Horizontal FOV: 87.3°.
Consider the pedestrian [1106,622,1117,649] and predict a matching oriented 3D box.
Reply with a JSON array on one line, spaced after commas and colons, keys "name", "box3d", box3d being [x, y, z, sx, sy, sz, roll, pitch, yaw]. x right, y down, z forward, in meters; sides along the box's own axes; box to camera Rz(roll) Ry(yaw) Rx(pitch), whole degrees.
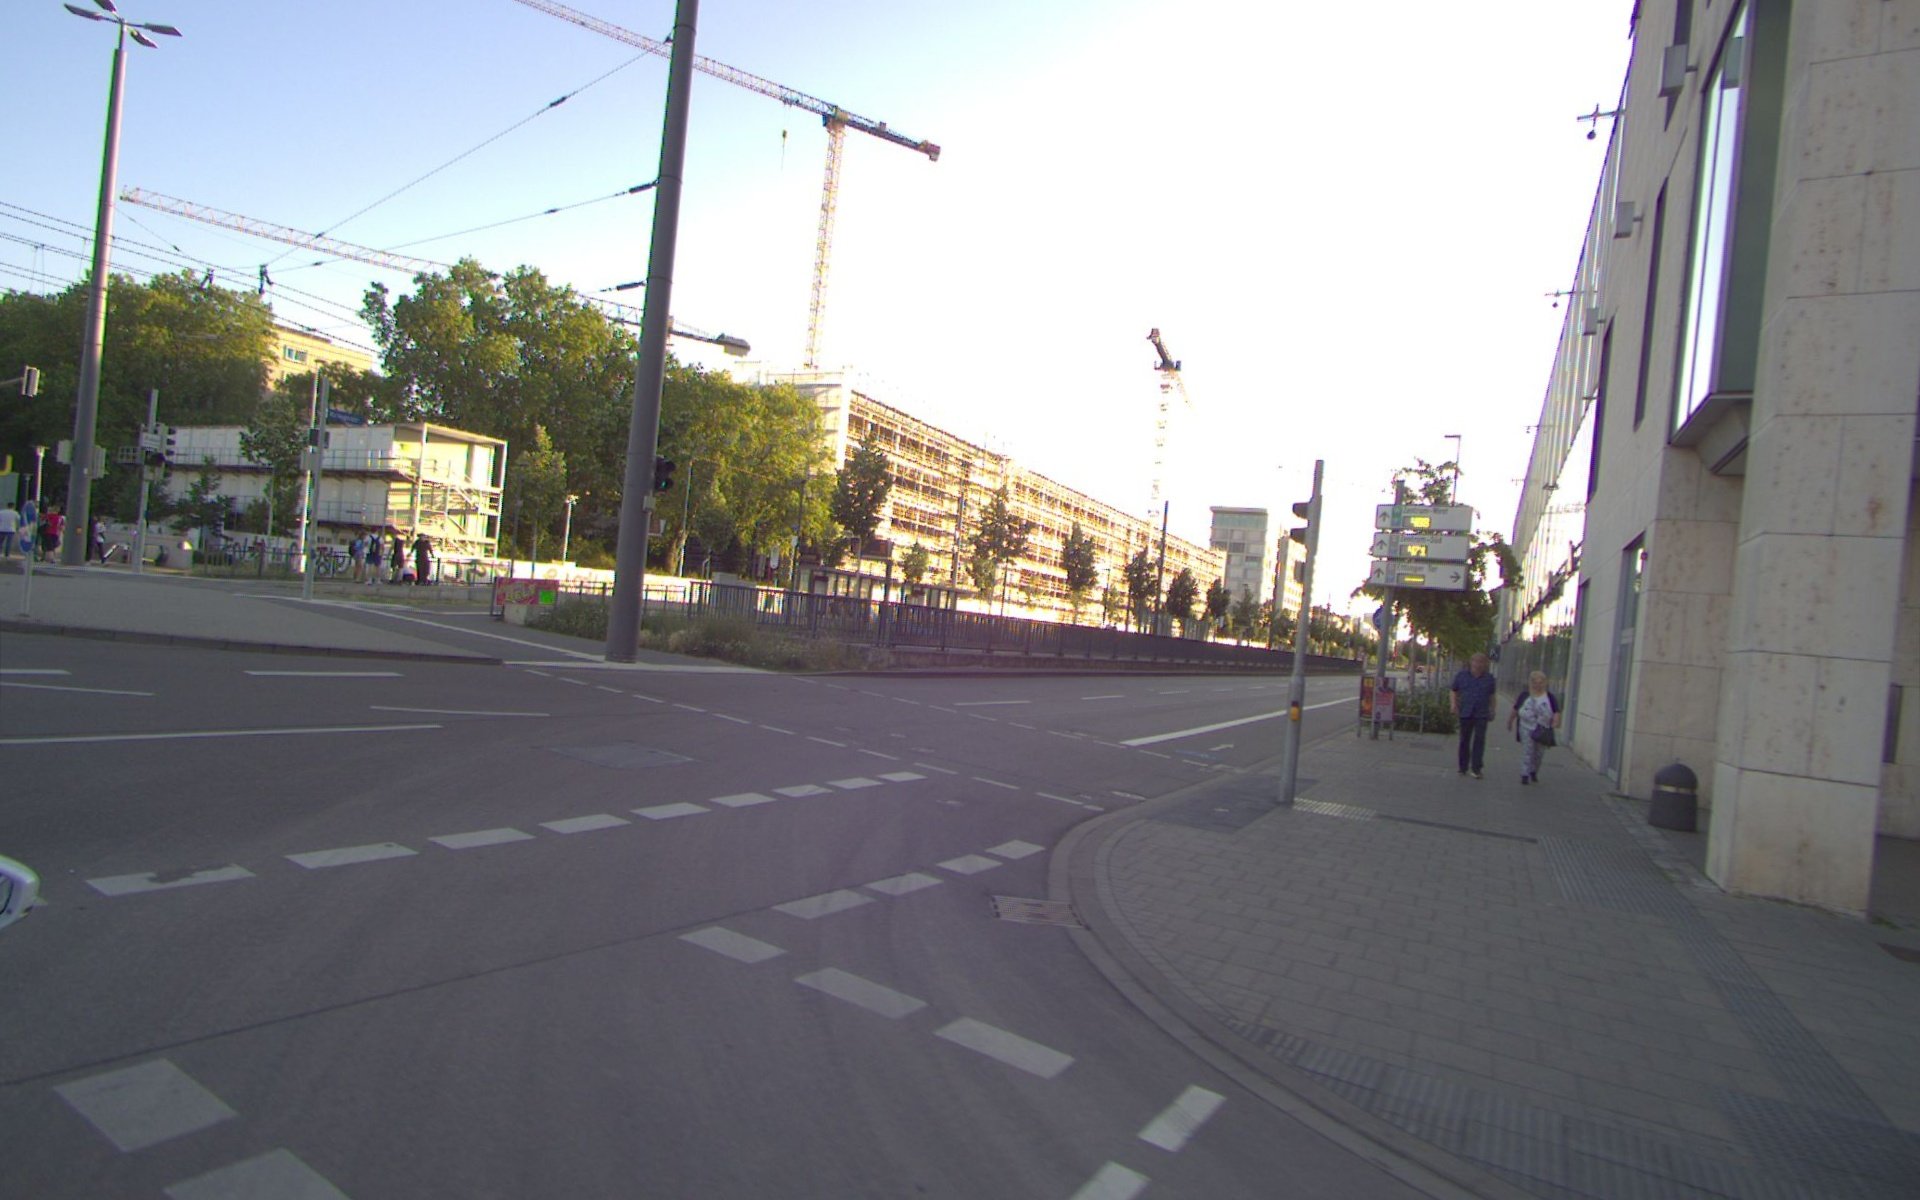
[{"name": "pedestrian", "box3d": [9.655, 2.279, 64.022, 0.396, 1.690, 0.448, 6, 0, 38]}]

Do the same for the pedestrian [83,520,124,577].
[{"name": "pedestrian", "box3d": [-29.131, -1.748, 34.210, 0.789, 1.813, 0.804, 6, 0, 39]}]

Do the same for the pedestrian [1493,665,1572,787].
[{"name": "pedestrian", "box3d": [7.958, 1.728, 14.010, 0.712, 1.565, 0.668, 6, 0, 20]}]

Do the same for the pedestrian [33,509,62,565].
[{"name": "pedestrian", "box3d": [-29.292, -2.018, 32.290, 0.570, 1.699, 0.631, 6, 0, -44]}]

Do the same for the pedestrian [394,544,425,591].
[{"name": "pedestrian", "box3d": [-17.913, -1.055, 32.726, 0.672, 1.459, 0.707, 5, 0, -36]}]

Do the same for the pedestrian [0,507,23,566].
[{"name": "pedestrian", "box3d": [-29.418, -1.961, 30.972, 0.708, 1.746, 0.904, 6, 0, -43]}]

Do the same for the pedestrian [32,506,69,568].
[{"name": "pedestrian", "box3d": [-27.401, -1.886, 30.320, 0.700, 1.756, 0.837, 6, 0, -42]}]

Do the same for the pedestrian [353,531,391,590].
[{"name": "pedestrian", "box3d": [-18.273, -1.236, 31.260, 0.659, 1.746, 0.709, 6, 0, 43]}]

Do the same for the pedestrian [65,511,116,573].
[{"name": "pedestrian", "box3d": [-27.433, -1.835, 31.748, 0.786, 1.813, 0.807, 6, 0, 22]}]

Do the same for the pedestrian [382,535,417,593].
[{"name": "pedestrian", "box3d": [-17.767, -1.136, 31.873, 0.708, 1.746, 0.661, 6, 0, -41]}]

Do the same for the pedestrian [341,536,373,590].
[{"name": "pedestrian", "box3d": [-19.102, -1.163, 31.851, 0.527, 1.612, 0.571, 6, 0, 31]}]

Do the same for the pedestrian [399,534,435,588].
[{"name": "pedestrian", "box3d": [-18.420, -1.318, 34.118, 0.657, 1.746, 0.712, 6, 0, 29]}]

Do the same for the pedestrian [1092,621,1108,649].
[{"name": "pedestrian", "box3d": [8.981, 2.231, 64.382, 0.657, 1.690, 0.574, 6, 0, 37]}]

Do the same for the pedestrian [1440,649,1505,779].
[{"name": "pedestrian", "box3d": [7.281, 1.596, 14.320, 0.579, 1.746, 0.668, 6, 0, 20]}]

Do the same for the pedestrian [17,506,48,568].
[{"name": "pedestrian", "box3d": [-28.446, -1.922, 30.863, 0.570, 1.813, 0.631, 6, 0, -44]}]
